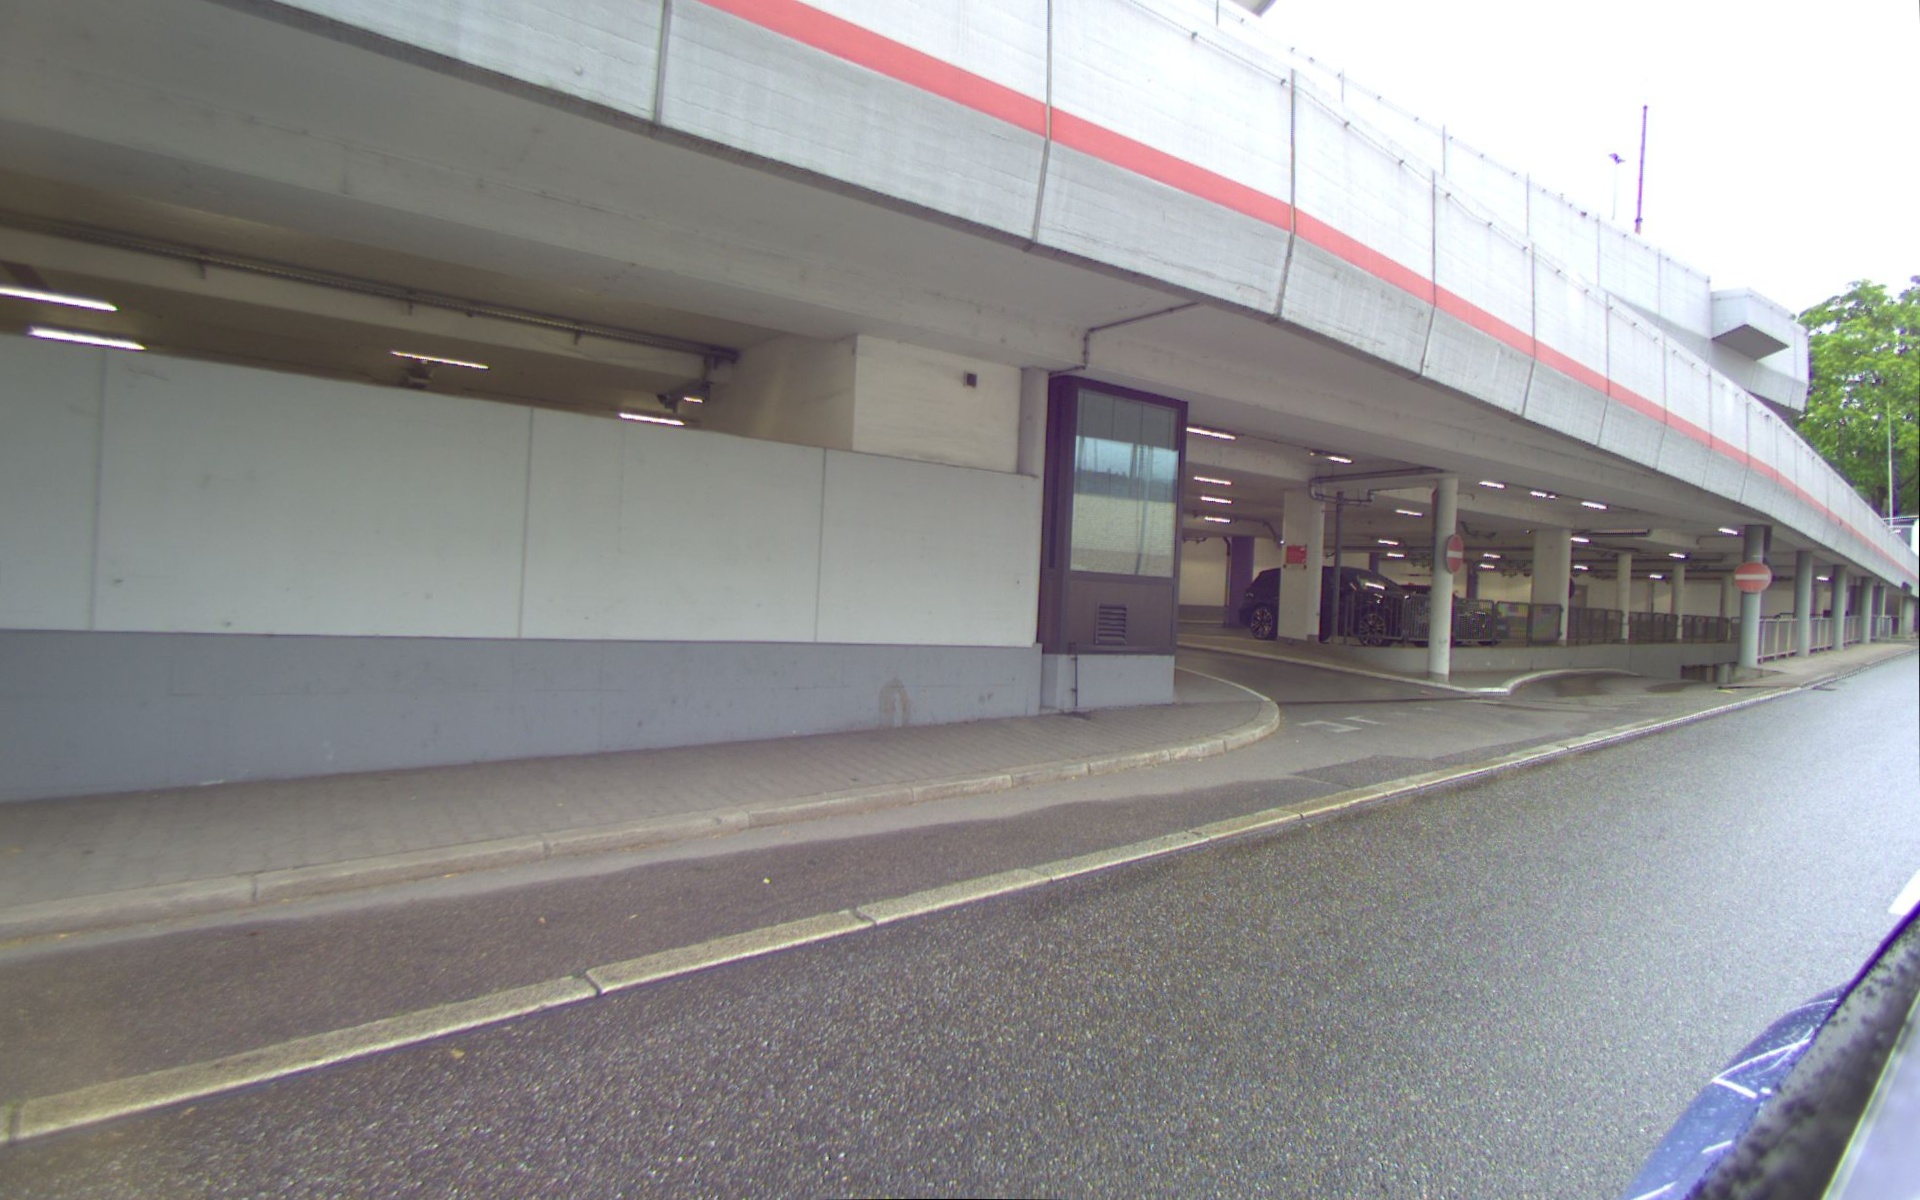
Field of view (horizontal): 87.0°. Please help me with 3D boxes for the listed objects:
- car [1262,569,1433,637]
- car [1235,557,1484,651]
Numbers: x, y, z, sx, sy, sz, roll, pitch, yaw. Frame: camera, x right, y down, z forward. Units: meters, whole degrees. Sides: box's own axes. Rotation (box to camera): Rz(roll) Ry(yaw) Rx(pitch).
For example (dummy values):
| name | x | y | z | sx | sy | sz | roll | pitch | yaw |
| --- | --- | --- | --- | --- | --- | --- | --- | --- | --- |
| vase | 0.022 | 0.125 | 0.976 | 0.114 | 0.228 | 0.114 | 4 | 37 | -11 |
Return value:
| name | x | y | z | sx | sy | sz | roll | pitch | yaw |
| --- | --- | --- | --- | --- | --- | --- | --- | --- | --- |
| car | 9.901 | 0.040 | 26.102 | 1.772 | 1.524 | 3.737 | 2 | 1 | -34 |
| car | 8.227 | 0.015 | 21.266 | 1.787 | 1.660 | 4.593 | 2 | 2 | -34 |
